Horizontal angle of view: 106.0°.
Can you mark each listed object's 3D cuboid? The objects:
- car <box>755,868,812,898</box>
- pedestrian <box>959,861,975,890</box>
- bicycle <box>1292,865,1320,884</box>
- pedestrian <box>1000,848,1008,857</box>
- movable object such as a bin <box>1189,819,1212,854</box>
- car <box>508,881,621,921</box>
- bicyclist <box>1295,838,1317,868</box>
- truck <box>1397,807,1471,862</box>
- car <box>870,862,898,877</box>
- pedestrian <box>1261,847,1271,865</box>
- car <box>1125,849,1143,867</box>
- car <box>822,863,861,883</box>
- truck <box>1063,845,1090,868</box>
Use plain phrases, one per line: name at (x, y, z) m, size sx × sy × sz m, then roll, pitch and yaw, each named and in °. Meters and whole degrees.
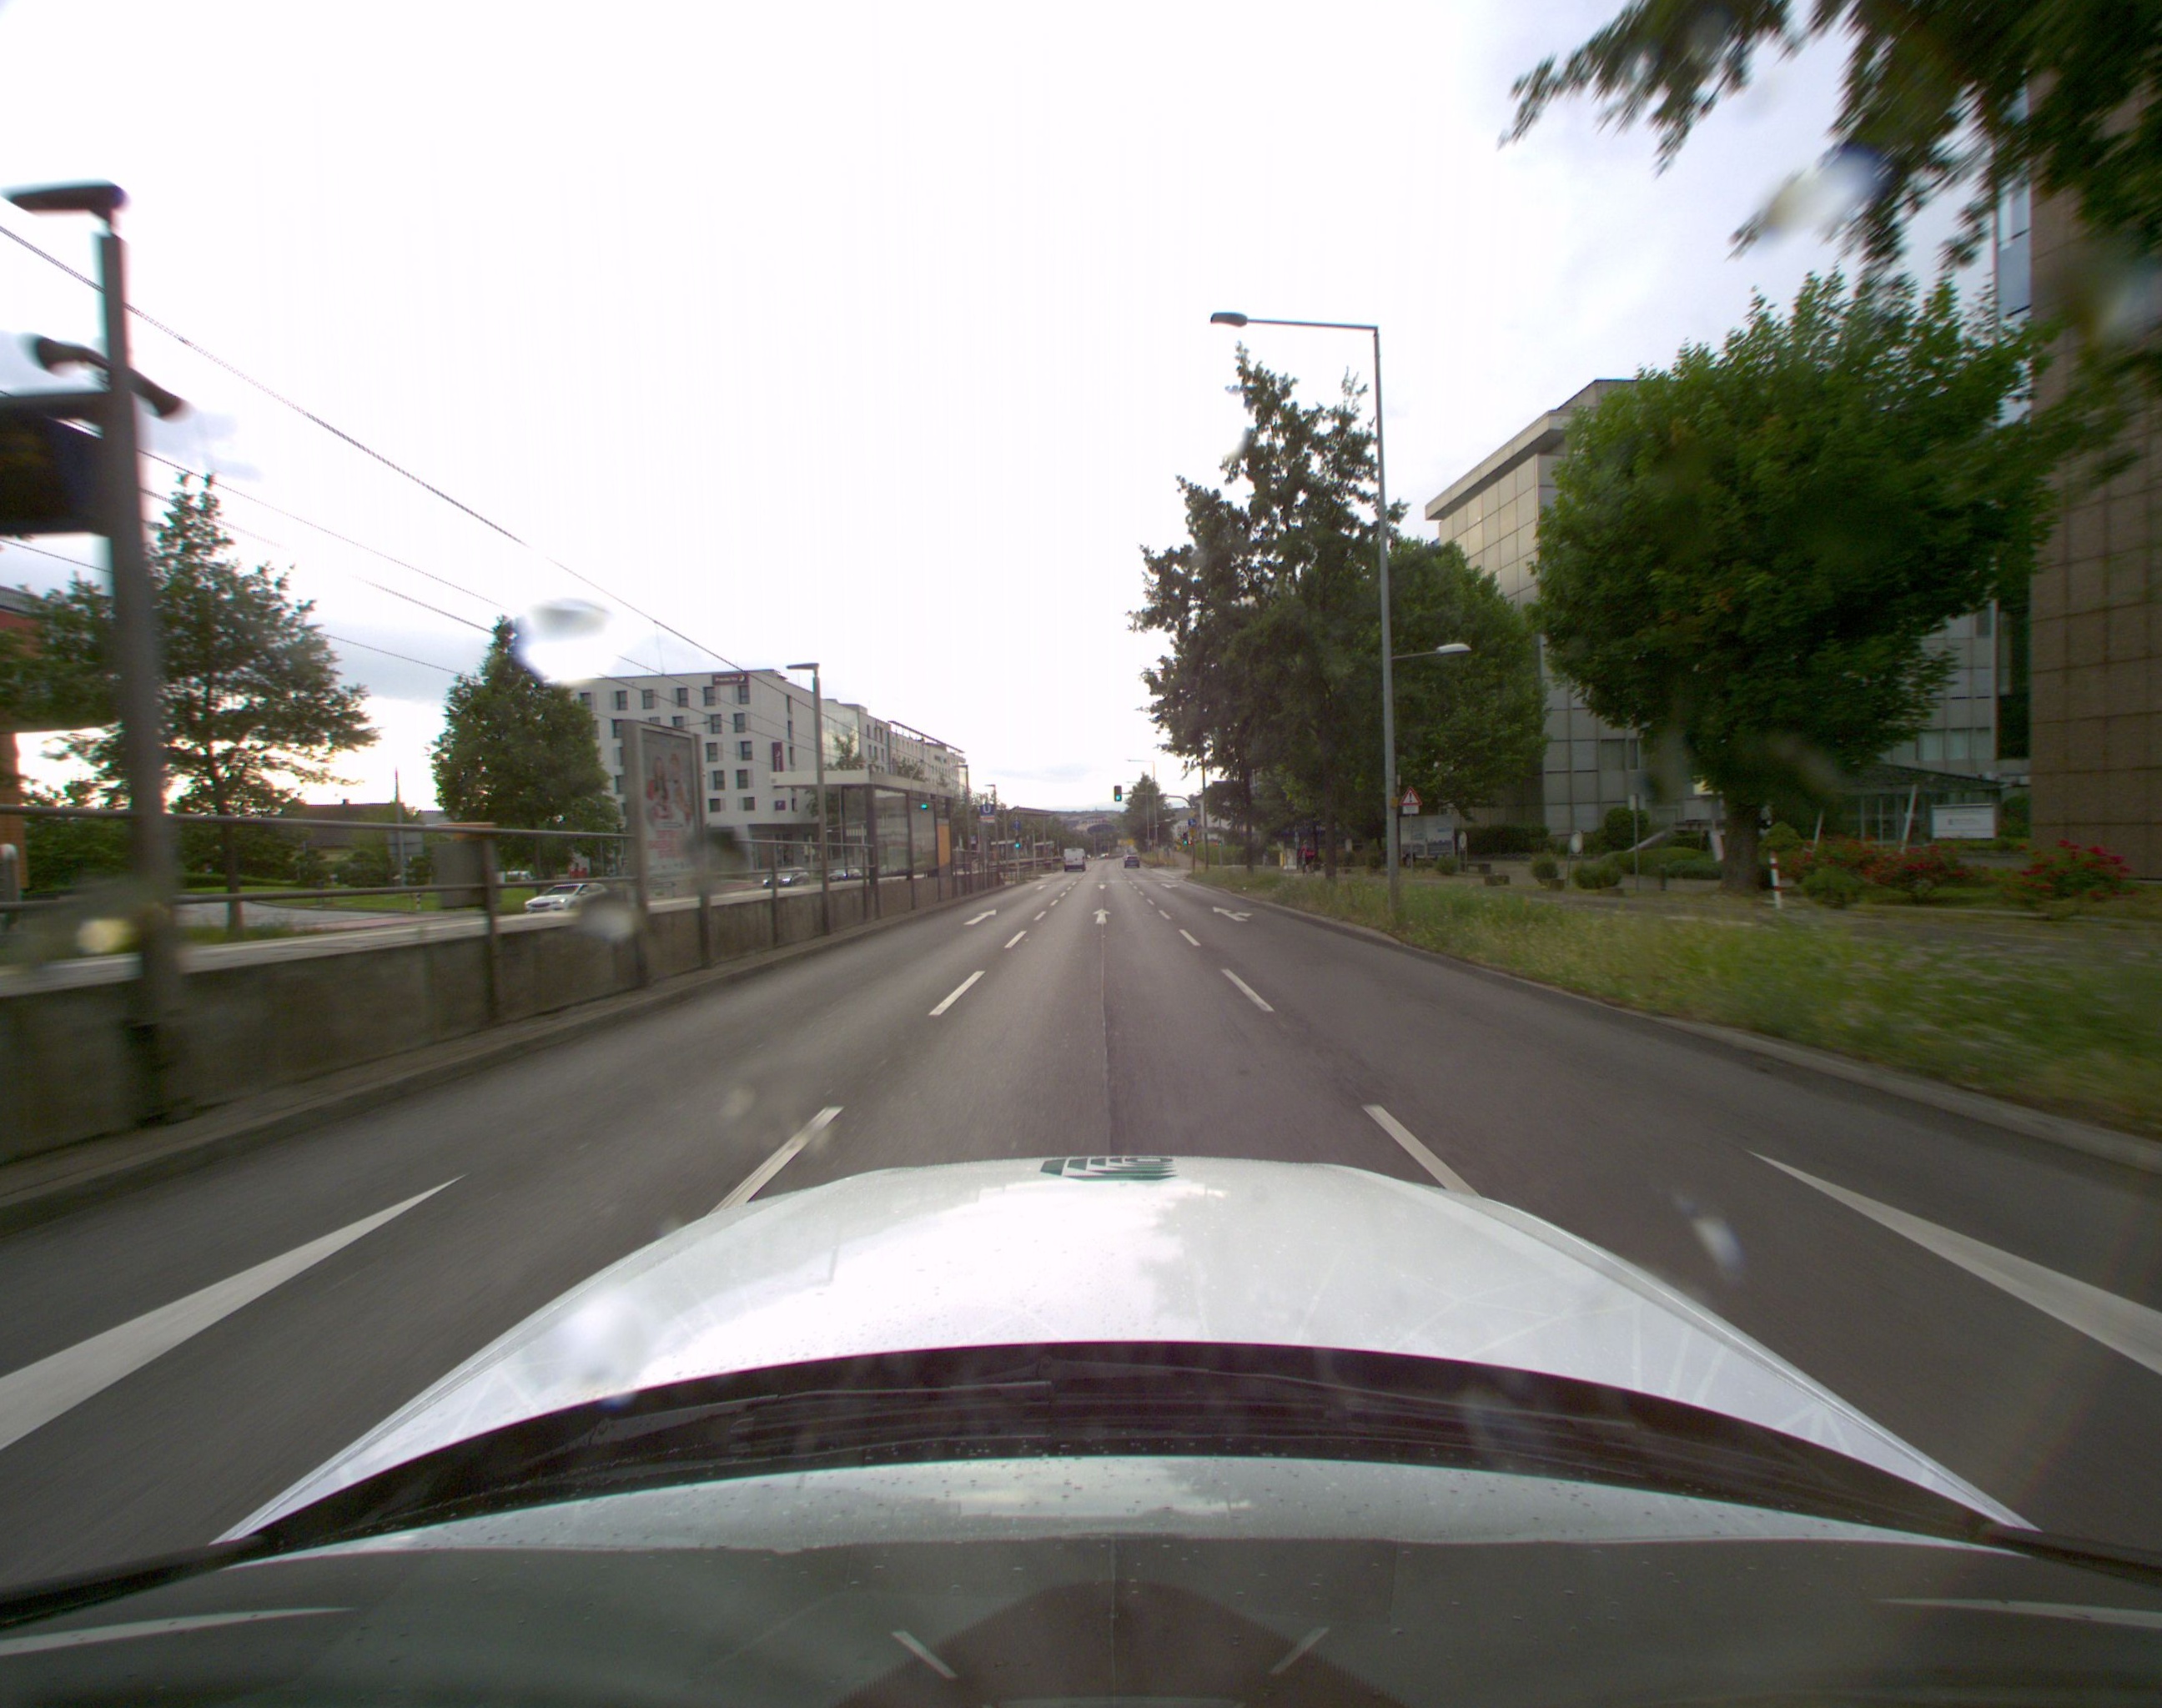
car at (-19.644, 1.884, 53.983) m, size 1.986 × 1.774 × 4.390 m, roll -2°, pitch 0°, yaw 2°
pedestrian at (-6.591, 1.254, 47.028) m, size 0.704 × 1.650 × 0.644 m, roll -1°, pitch 0°, yaw -27°
bicycle at (10.027, 0.890, 36.360) m, size 0.665 × 0.809 × 2.319 m, roll 0°, pitch 0°, yaw 2°
pedestrian at (-11.089, -0.252, 116.915) m, size 0.957 × 1.300 × 0.685 m, roll -2°, pitch 0°, yaw 3°
movable object such as a bin at (19.926, -2.843, 136.212) m, size 3.275 × 5.685 × 8.775 m, roll 0°, pitch -1°, yaw 5°
car at (-22.738, 2.028, 36.122) m, size 1.987 × 1.517 × 4.706 m, roll 0°, pitch 0°, yaw 0°
bicyclist at (10.028, -0.050, 36.314) m, size 0.653 × 1.288 × 1.220 m, roll 0°, pitch 0°, yaw 1°
truck at (16.902, -0.884, 39.246) m, size 1.741 × 2.518 × 3.997 m, roll 0°, pitch -1°, yaw -2°
car at (-19.494, 1.505, 80.554) m, size 1.722 × 1.423 × 3.780 m, roll -2°, pitch 0°, yaw 1°
pedestrian at (17.464, 0.197, 76.833) m, size 0.553 × 1.652 × 0.830 m, roll -2°, pitch 0°, yaw -8°
car at (6.144, 0.500, 93.919) m, size 1.984 × 2.014 × 3.940 m, roll 0°, pitch 0°, yaw 5°
car at (-19.582, 1.506, 66.664) m, size 1.847 × 1.427 × 4.387 m, roll -3°, pitch 0°, yaw -1°
truck at (-0.438, 0.260, 81.931) m, size 2.350 × 2.262 × 5.310 m, roll 0°, pitch 0°, yaw 3°
